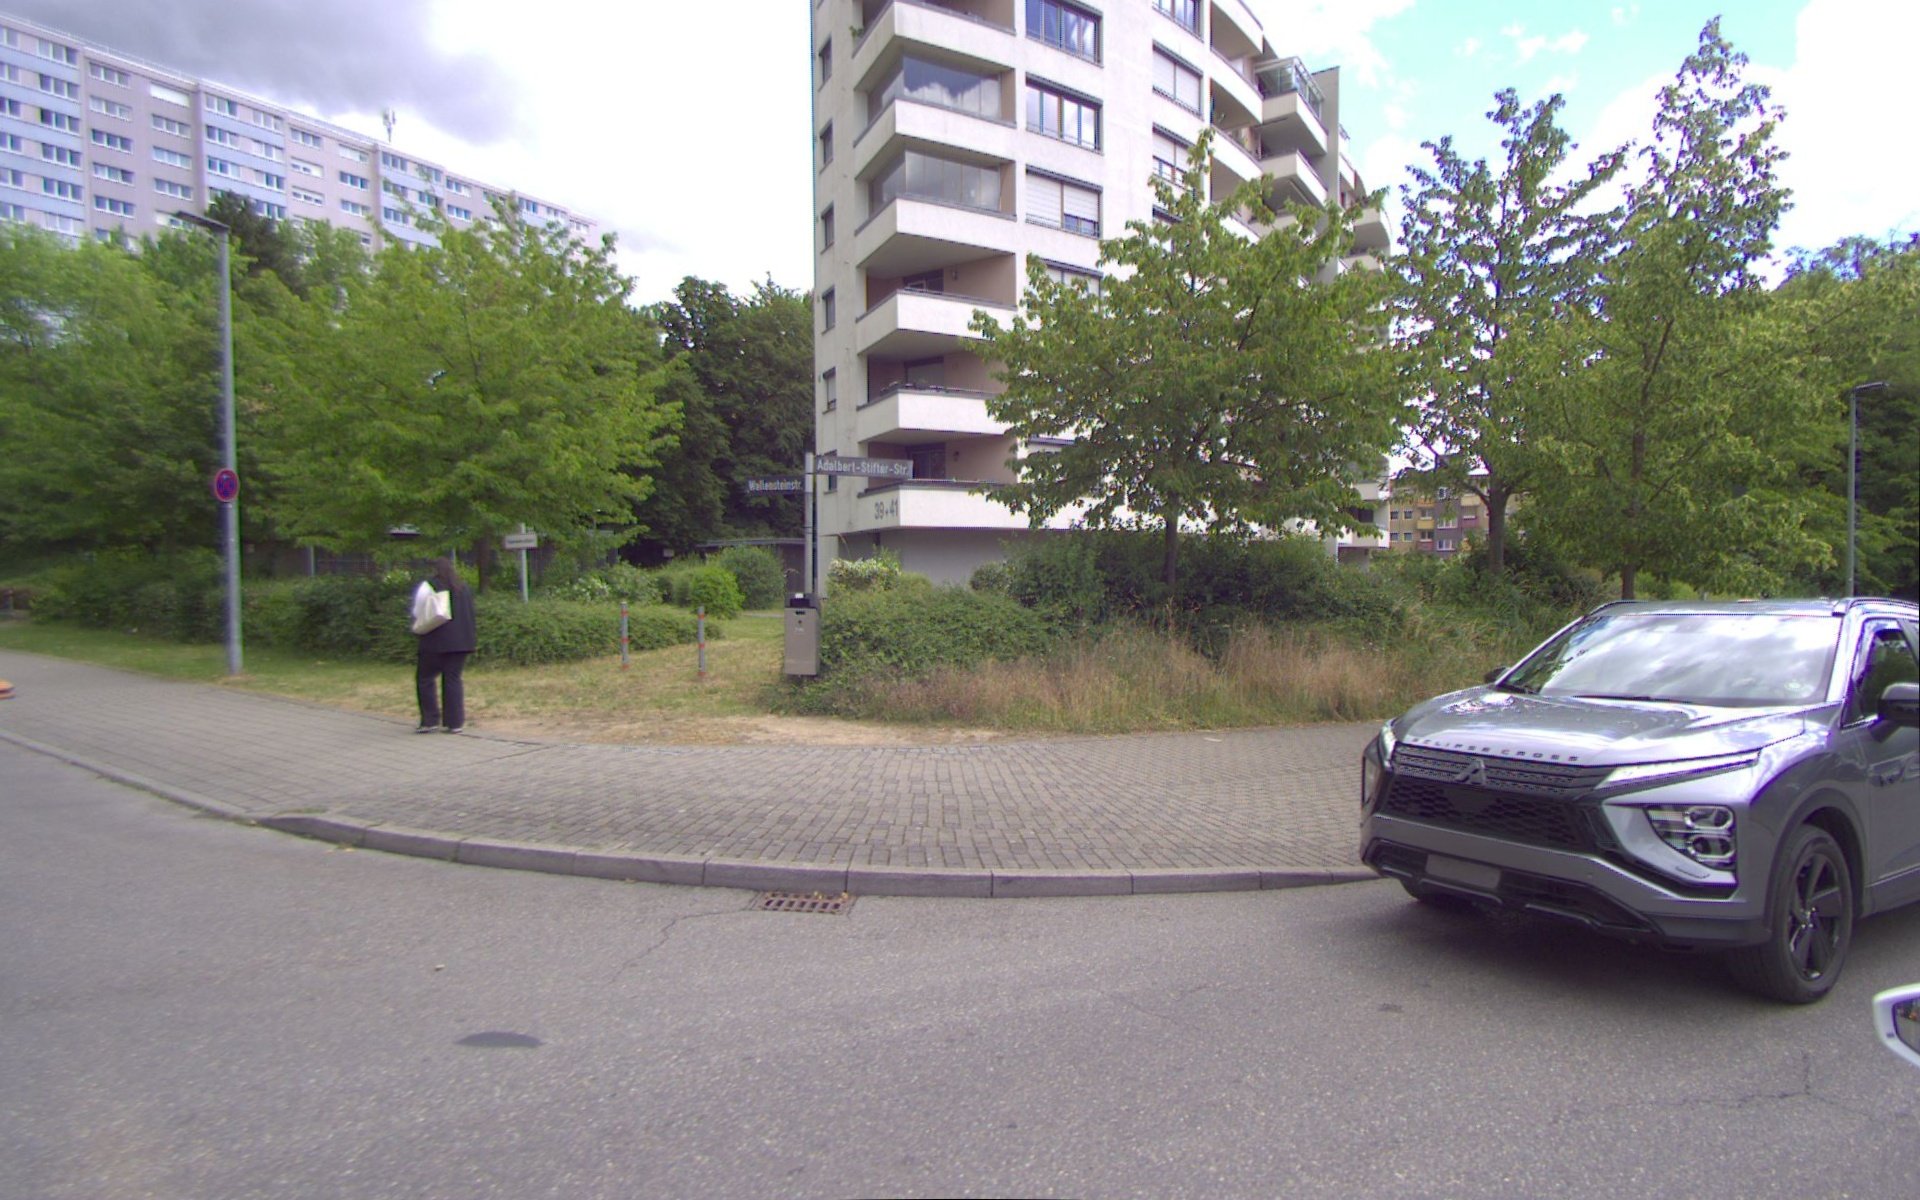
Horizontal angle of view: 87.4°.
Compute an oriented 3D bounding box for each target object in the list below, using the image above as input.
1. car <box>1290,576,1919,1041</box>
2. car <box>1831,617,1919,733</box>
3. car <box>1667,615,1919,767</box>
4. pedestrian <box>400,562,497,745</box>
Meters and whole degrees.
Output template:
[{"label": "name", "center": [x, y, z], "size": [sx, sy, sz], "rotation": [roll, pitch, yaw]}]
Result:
[{"label": "car", "center": [3.920, 0.787, 5.345], "size": [4.119, 1.603, 1.887], "rotation": [1, -2, -30]}, {"label": "car", "center": [14.955, 1.074, 15.057], "size": [4.184, 1.532, 1.680], "rotation": [1, 3, -33]}, {"label": "car", "center": [10.630, 0.994, 12.392], "size": [3.909, 1.508, 1.680], "rotation": [1, 3, -32]}, {"label": "pedestrian", "center": [-4.815, 0.473, 9.455], "size": [0.712, 1.633, 0.628], "rotation": [-2, 2, -33]}]
